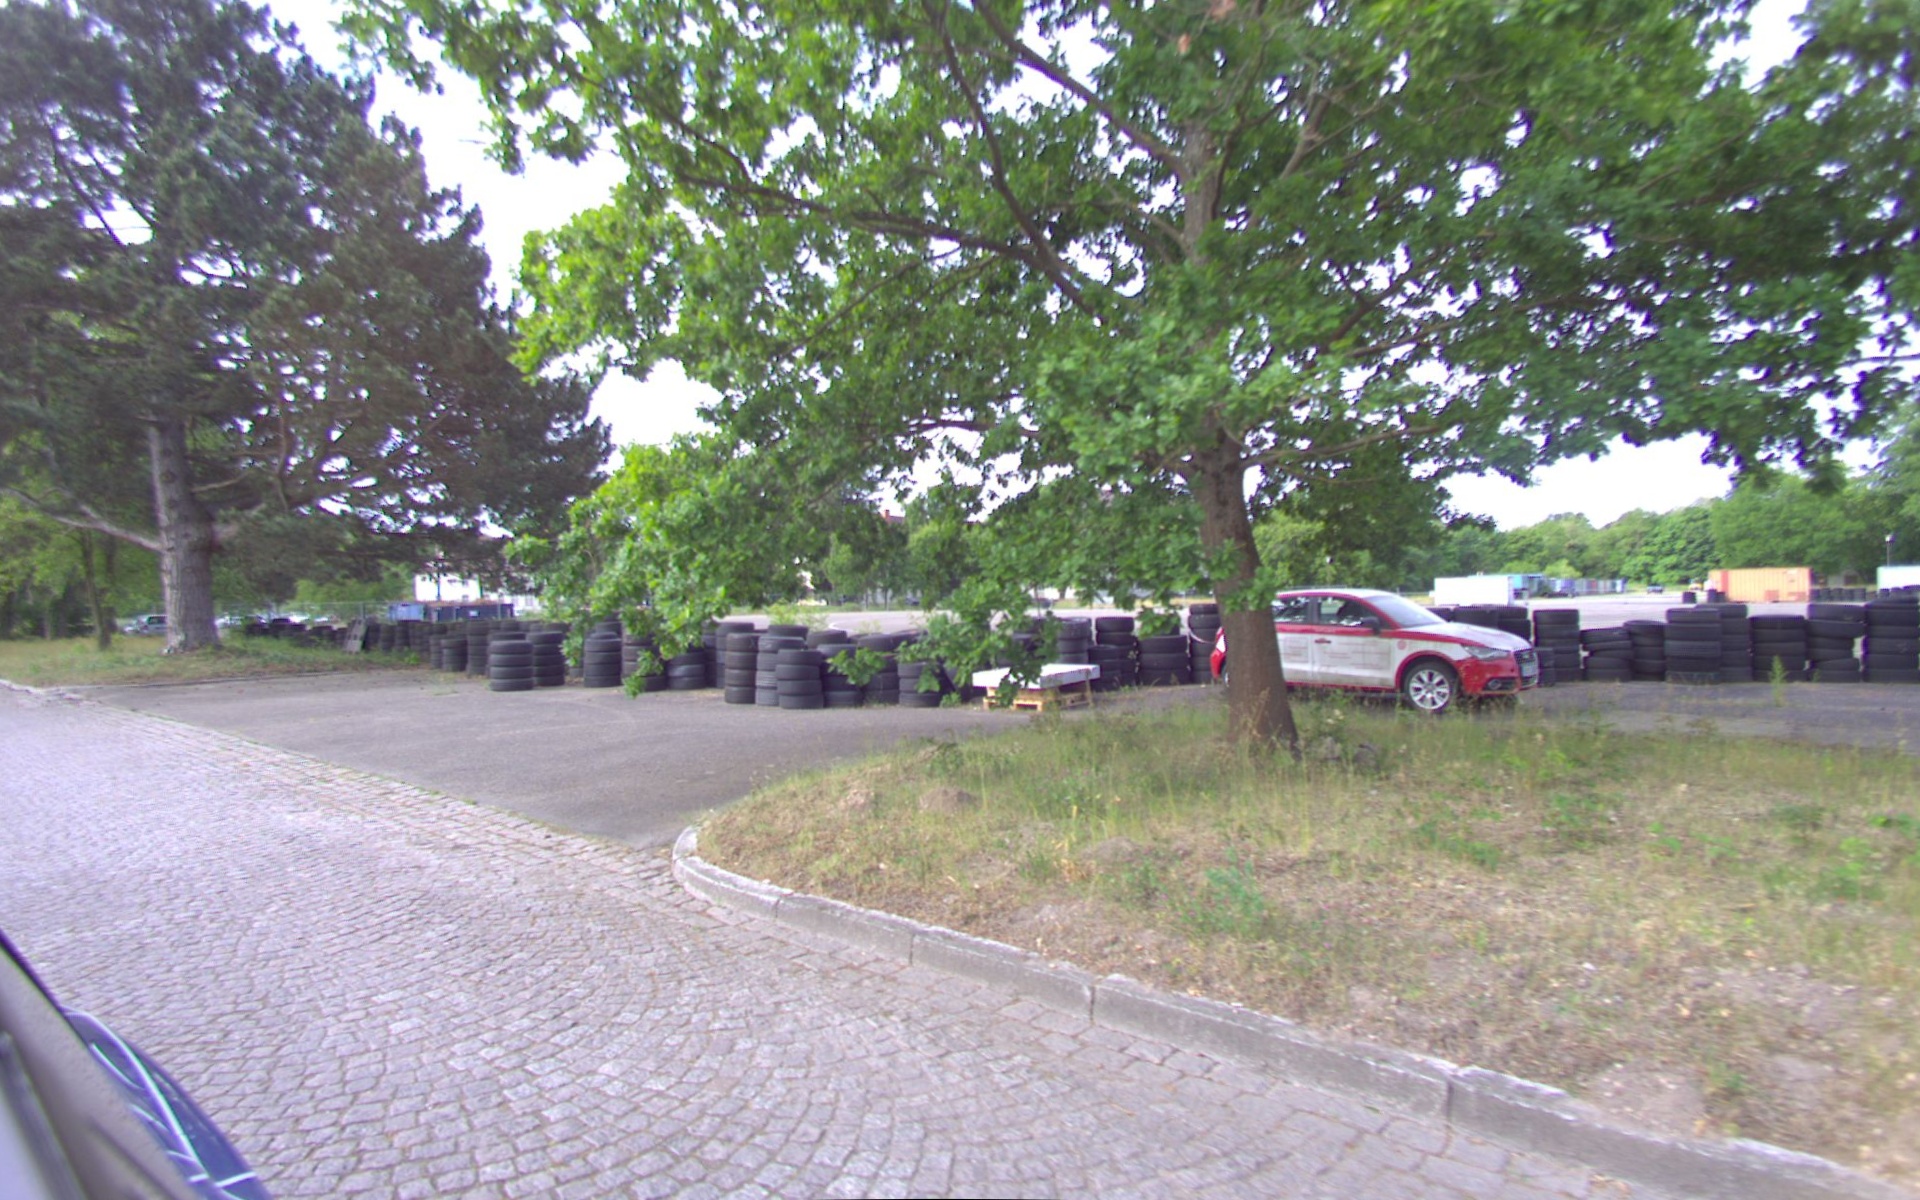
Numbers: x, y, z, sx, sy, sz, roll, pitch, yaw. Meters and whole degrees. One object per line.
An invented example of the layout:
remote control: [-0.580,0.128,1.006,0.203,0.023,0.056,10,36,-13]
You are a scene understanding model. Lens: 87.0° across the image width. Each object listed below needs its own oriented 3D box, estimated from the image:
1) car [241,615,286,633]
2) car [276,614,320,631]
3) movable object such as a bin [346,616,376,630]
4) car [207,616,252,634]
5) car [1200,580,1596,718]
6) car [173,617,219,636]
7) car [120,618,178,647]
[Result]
car: [-61.992,2.127,90.043,4.446,1.460,1.975,-1,0,38]
car: [-60.548,2.066,92.559,4.446,1.460,1.975,-1,0,38]
movable object such as a bin: [-50.247,1.926,84.917,2.712,1.079,1.046,-1,0,32]
car: [-63.567,2.184,88.035,4.446,1.460,1.975,-1,0,38]
car: [5.367,0.540,12.814,1.802,1.442,4.222,-1,0,-43]
car: [-64.808,2.237,85.833,4.446,1.460,1.975,-1,0,38]
car: [-42.953,1.703,53.578,3.719,1.421,1.649,-1,0,39]
